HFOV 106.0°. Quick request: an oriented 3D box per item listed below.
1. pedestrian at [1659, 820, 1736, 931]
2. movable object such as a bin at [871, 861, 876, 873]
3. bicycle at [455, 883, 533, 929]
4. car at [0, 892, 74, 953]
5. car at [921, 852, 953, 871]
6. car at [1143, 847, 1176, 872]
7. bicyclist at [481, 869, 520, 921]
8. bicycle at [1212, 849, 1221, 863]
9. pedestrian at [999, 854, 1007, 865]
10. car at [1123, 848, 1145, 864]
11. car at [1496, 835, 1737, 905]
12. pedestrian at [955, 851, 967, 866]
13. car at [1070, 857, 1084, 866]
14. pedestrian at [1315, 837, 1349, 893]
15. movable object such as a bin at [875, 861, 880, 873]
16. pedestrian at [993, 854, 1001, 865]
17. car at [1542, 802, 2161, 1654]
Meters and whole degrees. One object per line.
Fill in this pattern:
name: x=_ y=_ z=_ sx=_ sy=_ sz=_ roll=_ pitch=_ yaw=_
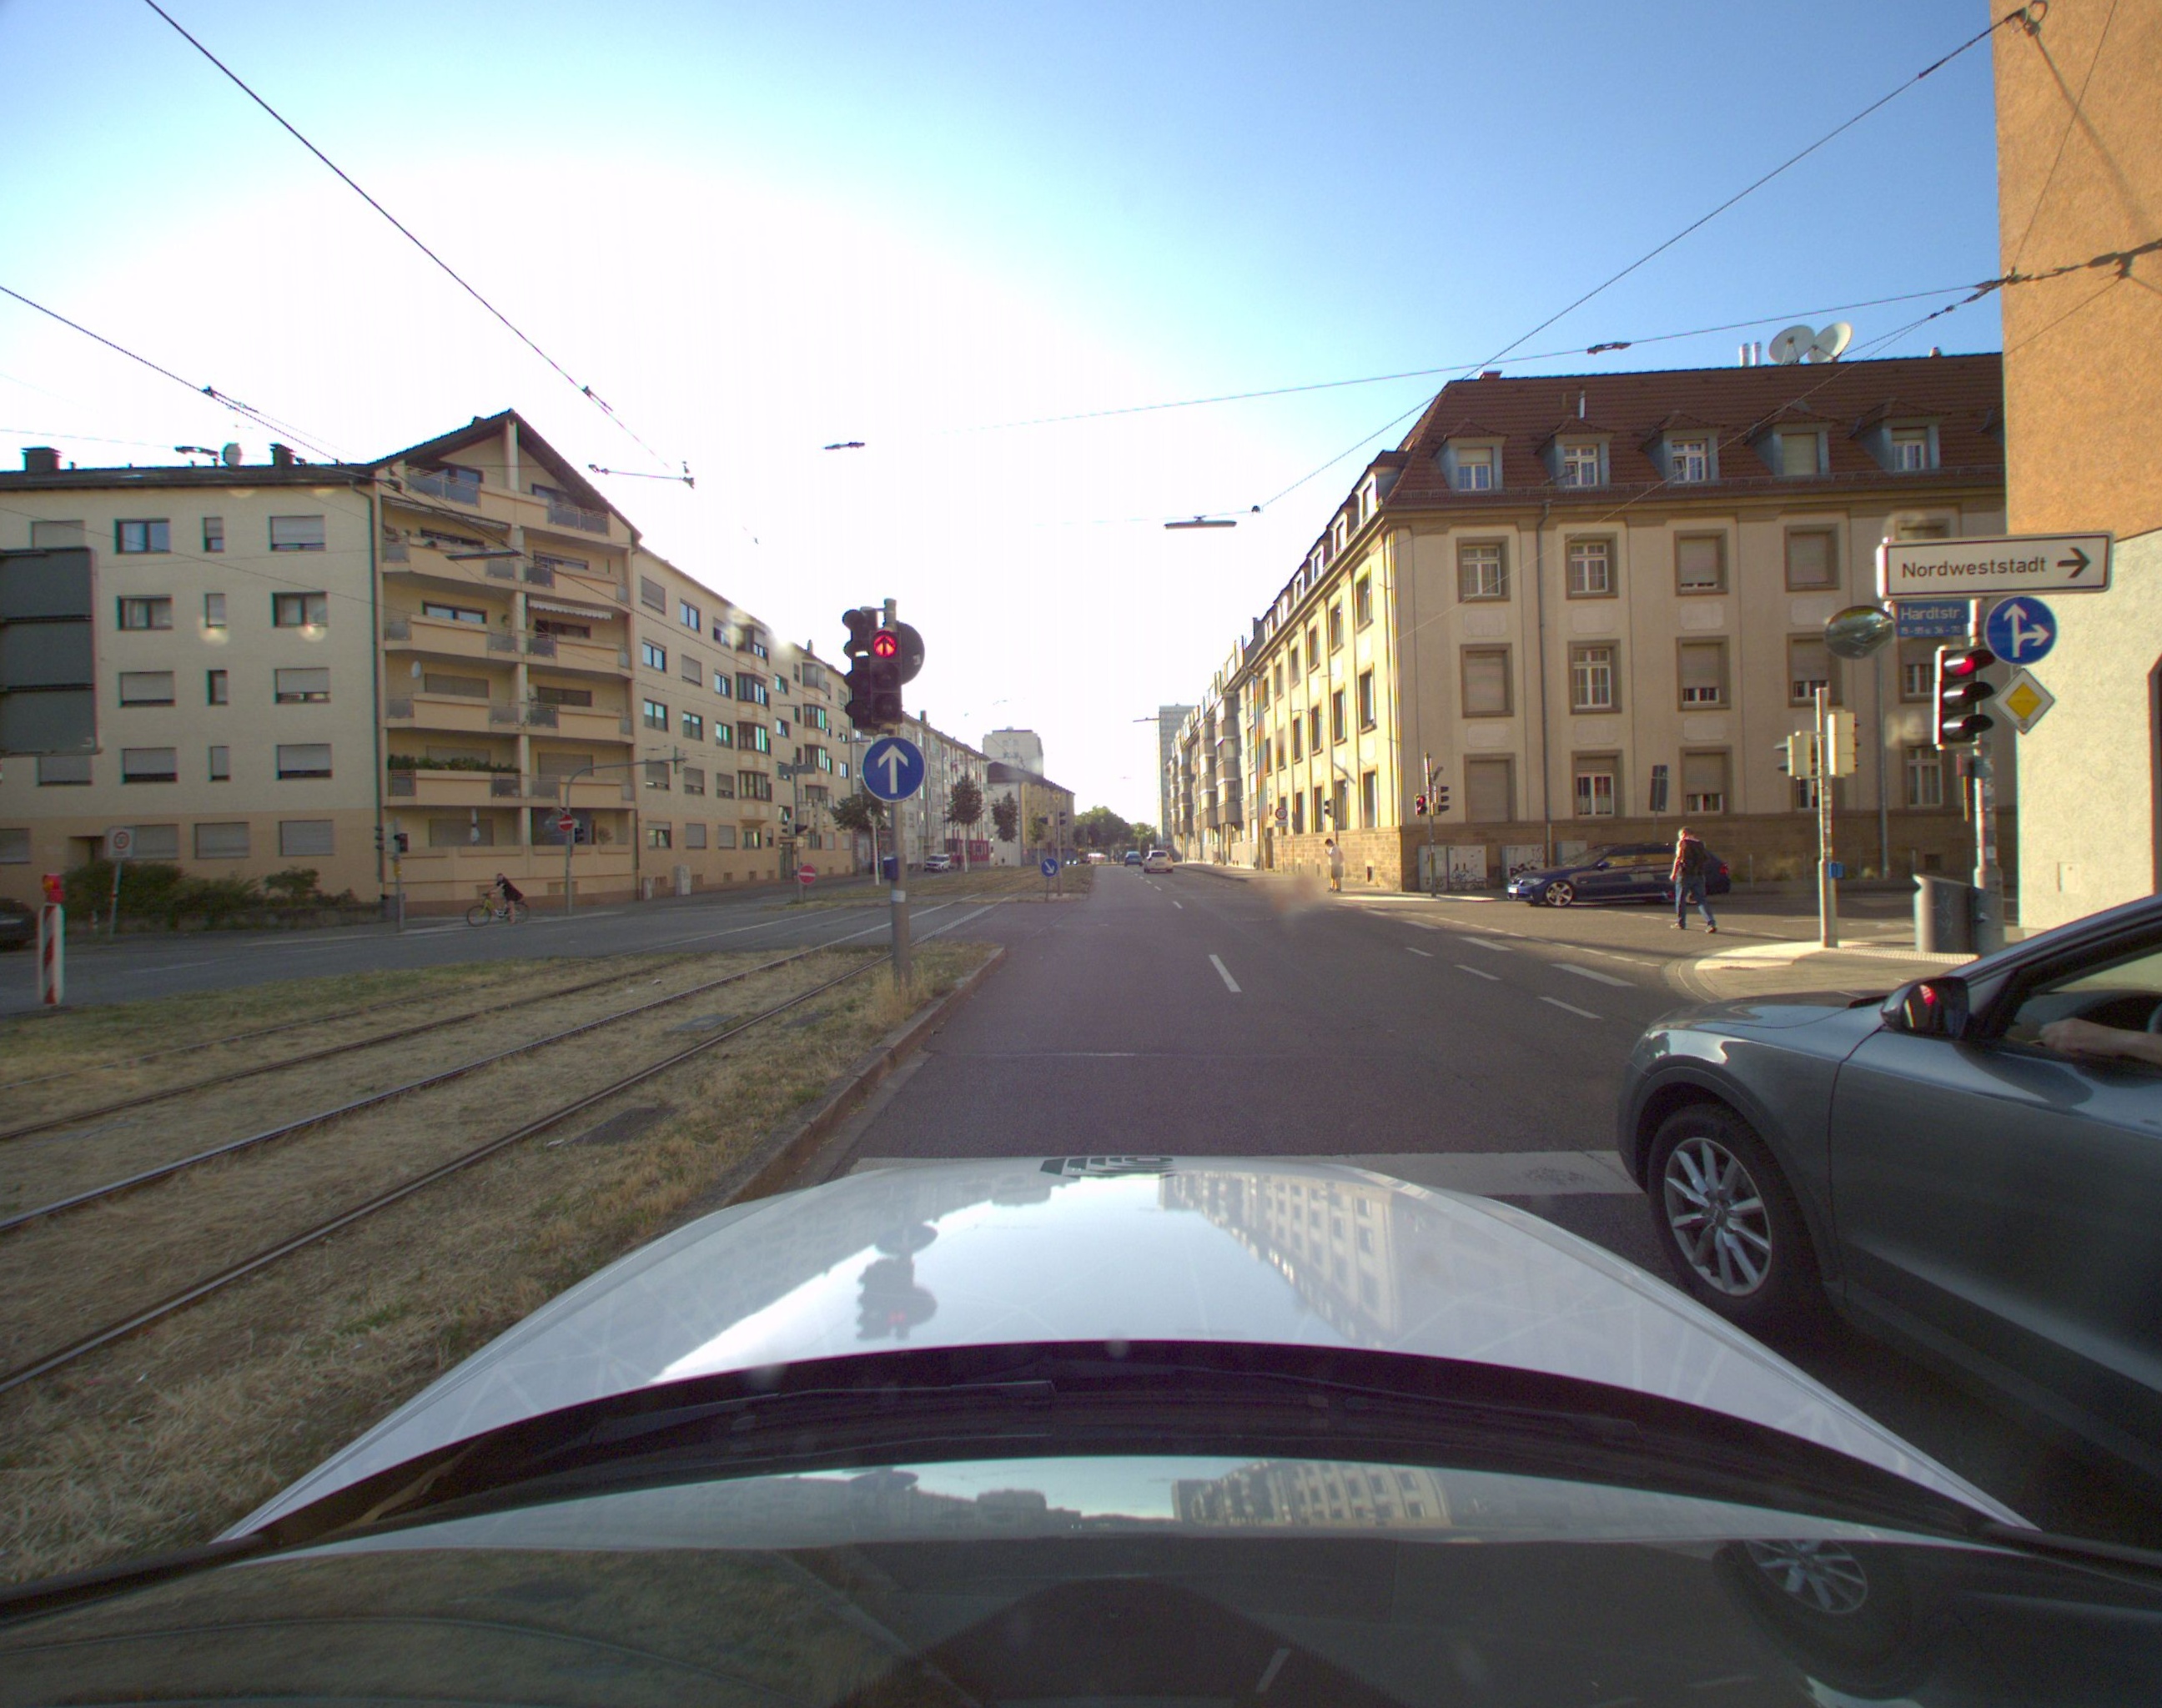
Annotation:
pedestrian: x=10.075 y=0.342 z=13.339 sx=0.627 sy=1.758 sz=0.826 roll=0 pitch=-1 yaw=1
movable object such as a bin: x=-17.530 y=1.113 z=68.810 sx=0.297 sy=1.036 sz=0.442 roll=0 pitch=-1 yaw=2
bicycle: x=-18.234 y=1.590 z=25.333 sx=0.450 sy=1.257 sz=1.883 roll=-1 pitch=1 yaw=34
car: x=-30.138 y=1.903 z=21.562 sx=3.983 sy=1.442 sz=1.996 roll=-2 pitch=3 yaw=-7
car: x=-14.500 y=0.748 z=82.138 sx=1.984 sy=1.925 sz=4.548 roll=0 pitch=-1 yaw=5
car: x=5.086 y=0.363 z=53.190 sx=1.985 sy=1.564 sz=4.003 roll=0 pitch=-1 yaw=3
bicyclist: x=-18.152 y=1.263 z=25.467 sx=0.620 sy=1.586 sz=0.814 roll=-1 pitch=0 yaw=35
bicycle: x=10.254 y=0.155 z=61.819 sx=0.382 sy=1.096 sz=1.503 roll=-2 pitch=-1 yaw=0
pedestrian: x=-11.592 y=0.800 z=120.921 sx=0.957 sy=1.670 sz=1.013 roll=-1 pitch=-1 yaw=7
car: x=5.251 y=0.231 z=81.777 sx=1.986 sy=1.554 sz=4.394 roll=0 pitch=0 yaw=1
car: x=12.357 y=0.372 z=19.081 sx=4.289 sy=1.456 sz=1.937 roll=-1 pitch=-1 yaw=7
pedestrian: x=-14.086 y=0.572 z=95.593 sx=1.268 sy=1.761 sz=1.271 roll=0 pitch=-1 yaw=-8
car: x=-0.702 y=1.449 z=157.361 sx=1.885 sy=1.633 sz=4.761 roll=-2 pitch=0 yaw=10
pedestrian: x=8.090 y=0.347 z=26.253 sx=0.832 sy=1.762 sz=0.824 roll=0 pitch=-1 yaw=1
movable object such as a bin: x=-17.360 y=1.105 z=69.458 sx=0.297 sy=1.036 sz=0.441 roll=0 pitch=-1 yaw=1
pedestrian: x=-12.483 y=0.803 z=120.383 sx=0.957 sy=1.694 sz=1.013 roll=-1 pitch=-1 yaw=7
car: x=2.818 y=0.684 z=1.481 sx=1.691 sy=1.552 sz=4.227 roll=0 pitch=0 yaw=2
